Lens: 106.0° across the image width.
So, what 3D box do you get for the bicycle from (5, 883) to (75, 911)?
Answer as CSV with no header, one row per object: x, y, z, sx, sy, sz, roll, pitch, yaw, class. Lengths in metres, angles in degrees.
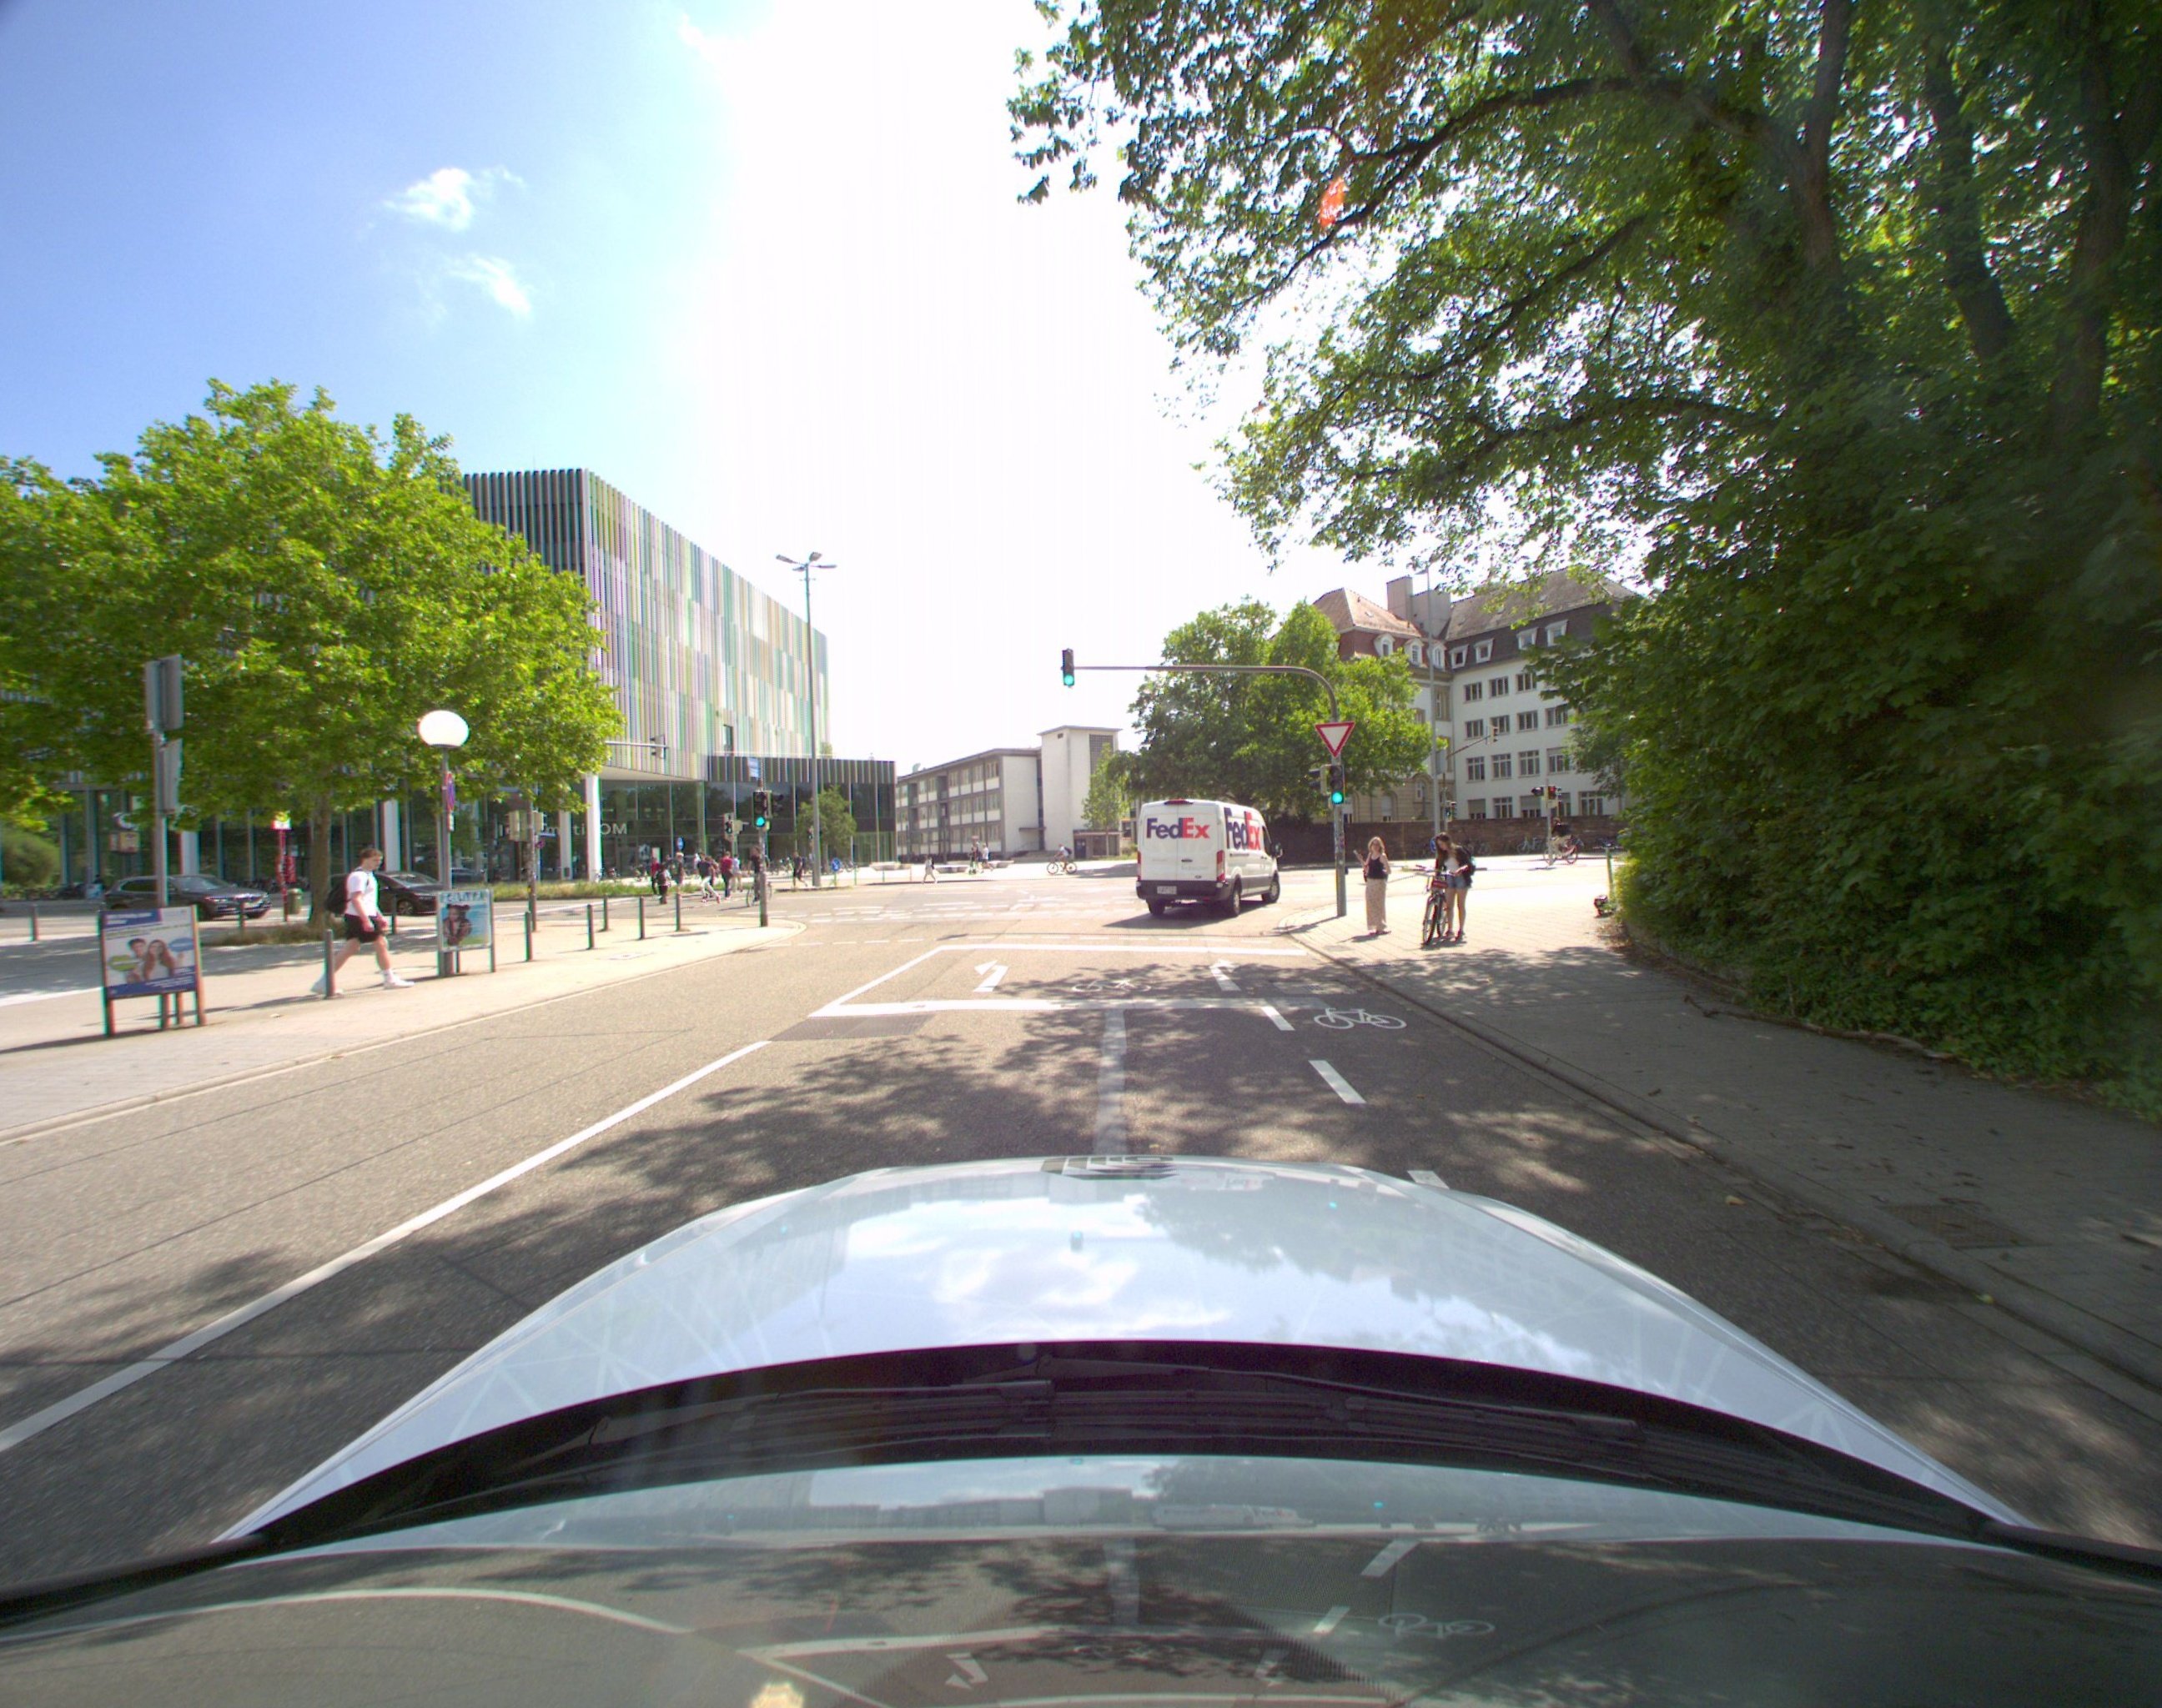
-72.674,2.977,56.893,0.955,1.838,2.954,-1,0,3,bicycle

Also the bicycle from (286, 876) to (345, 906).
-52.168,2.492,55.548,0.954,1.838,2.956,-1,0,6,bicycle

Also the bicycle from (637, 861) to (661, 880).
-30.045,1.147,56.609,1.206,1.237,2.920,-1,0,-34,bicycle

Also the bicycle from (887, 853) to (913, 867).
-22.527,0.733,101.381,2.978,1.574,1.105,-1,0,-35,bicycle

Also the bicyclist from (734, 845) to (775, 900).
-11.045,0.618,27.587,0.784,1.817,1.003,-2,0,12,bicyclist

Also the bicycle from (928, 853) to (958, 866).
-15.056,0.595,88.959,2.978,1.363,1.105,-1,0,-35,bicycle

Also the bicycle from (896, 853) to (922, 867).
-20.998,0.722,99.510,2.978,1.574,1.105,-1,0,-35,bicycle

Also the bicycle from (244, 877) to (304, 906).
-55.286,2.565,55.836,0.954,1.838,2.956,-1,0,6,bicycle

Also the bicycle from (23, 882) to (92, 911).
-71.373,2.946,56.853,0.955,1.838,2.954,-1,0,3,bicycle

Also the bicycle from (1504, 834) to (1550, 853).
26.694,-0.622,48.765,2.374,0.994,0.754,-2,0,-1,bicycle

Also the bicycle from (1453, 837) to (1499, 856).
23.549,-0.453,48.565,2.374,0.994,0.696,-2,0,-1,bicycle

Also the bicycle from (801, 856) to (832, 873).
-20.616,0.834,63.460,1.208,1.237,2.915,-1,0,-43,bicycle

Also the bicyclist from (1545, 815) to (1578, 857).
19.593,-0.726,33.232,0.686,1.672,0.881,-2,0,-32,bicyclist

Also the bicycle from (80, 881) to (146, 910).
-67.326,2.850,56.692,0.955,1.838,2.954,-1,0,3,bicycle

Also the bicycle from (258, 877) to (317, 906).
-54.260,2.541,55.737,0.954,1.838,2.956,-1,0,6,bicycle

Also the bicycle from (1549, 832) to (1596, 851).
29.499,-0.740,48.905,2.374,0.994,0.754,-2,0,-1,bicycle

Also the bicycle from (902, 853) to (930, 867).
-19.574,0.728,96.658,2.978,1.574,1.105,-1,0,-35,bicycle

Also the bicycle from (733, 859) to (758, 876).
-25.004,1.000,60.646,1.206,1.237,2.920,-1,0,-34,bicycle

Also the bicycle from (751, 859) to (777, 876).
-23.928,0.991,61.383,1.206,1.237,2.920,-1,0,-34,bicycle

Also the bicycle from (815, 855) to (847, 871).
-19.692,0.724,64.147,1.208,1.237,2.915,-1,0,-43,bicycle

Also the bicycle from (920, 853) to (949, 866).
-16.386,0.624,90.911,2.978,1.363,1.105,-1,0,-35,bicycle

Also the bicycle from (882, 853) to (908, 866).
-23.477,0.741,102.851,2.978,1.574,1.105,-1,0,-35,bicycle

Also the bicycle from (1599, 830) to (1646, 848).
32.645,-0.900,49.136,2.374,0.994,0.724,-2,0,-1,bicycle

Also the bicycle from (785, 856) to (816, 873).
-21.564,0.819,62.581,1.208,1.237,2.915,-1,0,-43,bicycle

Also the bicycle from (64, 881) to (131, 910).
-68.500,2.878,56.765,0.955,1.838,2.954,-1,0,3,bicycle

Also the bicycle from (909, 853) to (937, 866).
-18.247,0.649,94.315,2.978,1.363,1.105,-1,0,-35,bicycle

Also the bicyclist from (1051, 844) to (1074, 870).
-1.066,0.162,47.391,0.841,1.468,1.075,-2,0,26,bicyclist

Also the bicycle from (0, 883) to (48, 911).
-74.676,2.991,56.968,0.955,1.838,2.954,-1,0,3,bicycle

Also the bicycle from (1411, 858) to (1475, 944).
5.402,0.664,12.093,0.586,1.127,1.753,-5,-1,31,bicycle

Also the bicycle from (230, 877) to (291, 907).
-56.337,2.590,55.960,0.954,1.838,2.956,-1,0,6,bicycle

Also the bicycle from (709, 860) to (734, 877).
-26.447,1.055,59.912,1.206,1.237,2.920,-1,0,-34,bicycle

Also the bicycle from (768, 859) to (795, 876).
-22.823,0.997,62.031,1.206,1.237,2.920,-1,0,-34,bicycle

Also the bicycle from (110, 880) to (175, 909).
-65.174,2.799,56.591,0.982,1.838,2.954,-1,0,3,bicycle

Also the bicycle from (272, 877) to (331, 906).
-53.239,2.517,55.652,0.954,1.838,2.956,-1,0,6,bicycle

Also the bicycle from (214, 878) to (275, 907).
-57.462,2.617,56.013,0.954,1.838,2.956,-1,0,6,bicycle

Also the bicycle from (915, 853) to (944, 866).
-17.207,0.641,92.429,2.978,1.363,1.105,-1,0,-35,bicycle

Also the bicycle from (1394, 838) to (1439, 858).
19.975,-0.345,48.492,2.374,1.058,0.754,-2,0,-1,bicycle

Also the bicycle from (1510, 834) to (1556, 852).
27.070,-0.660,48.774,2.374,0.994,0.724,-2,0,-1,bicycle

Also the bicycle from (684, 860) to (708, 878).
-27.612,1.066,58.374,1.205,1.237,2.921,-1,0,-33,bicycle

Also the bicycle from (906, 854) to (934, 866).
-18.888,0.663,95.521,2.978,1.363,1.105,-1,0,-35,bicycle

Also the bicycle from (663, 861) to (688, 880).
-28.720,1.146,57.622,1.206,1.237,2.920,-1,0,-34,bicycle

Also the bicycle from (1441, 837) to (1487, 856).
22.799,-0.435,48.536,2.374,0.994,0.754,-2,0,-1,bicycle

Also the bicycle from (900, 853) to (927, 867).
-20.140,0.704,97.727,2.978,1.574,1.105,-1,0,-35,bicycle
